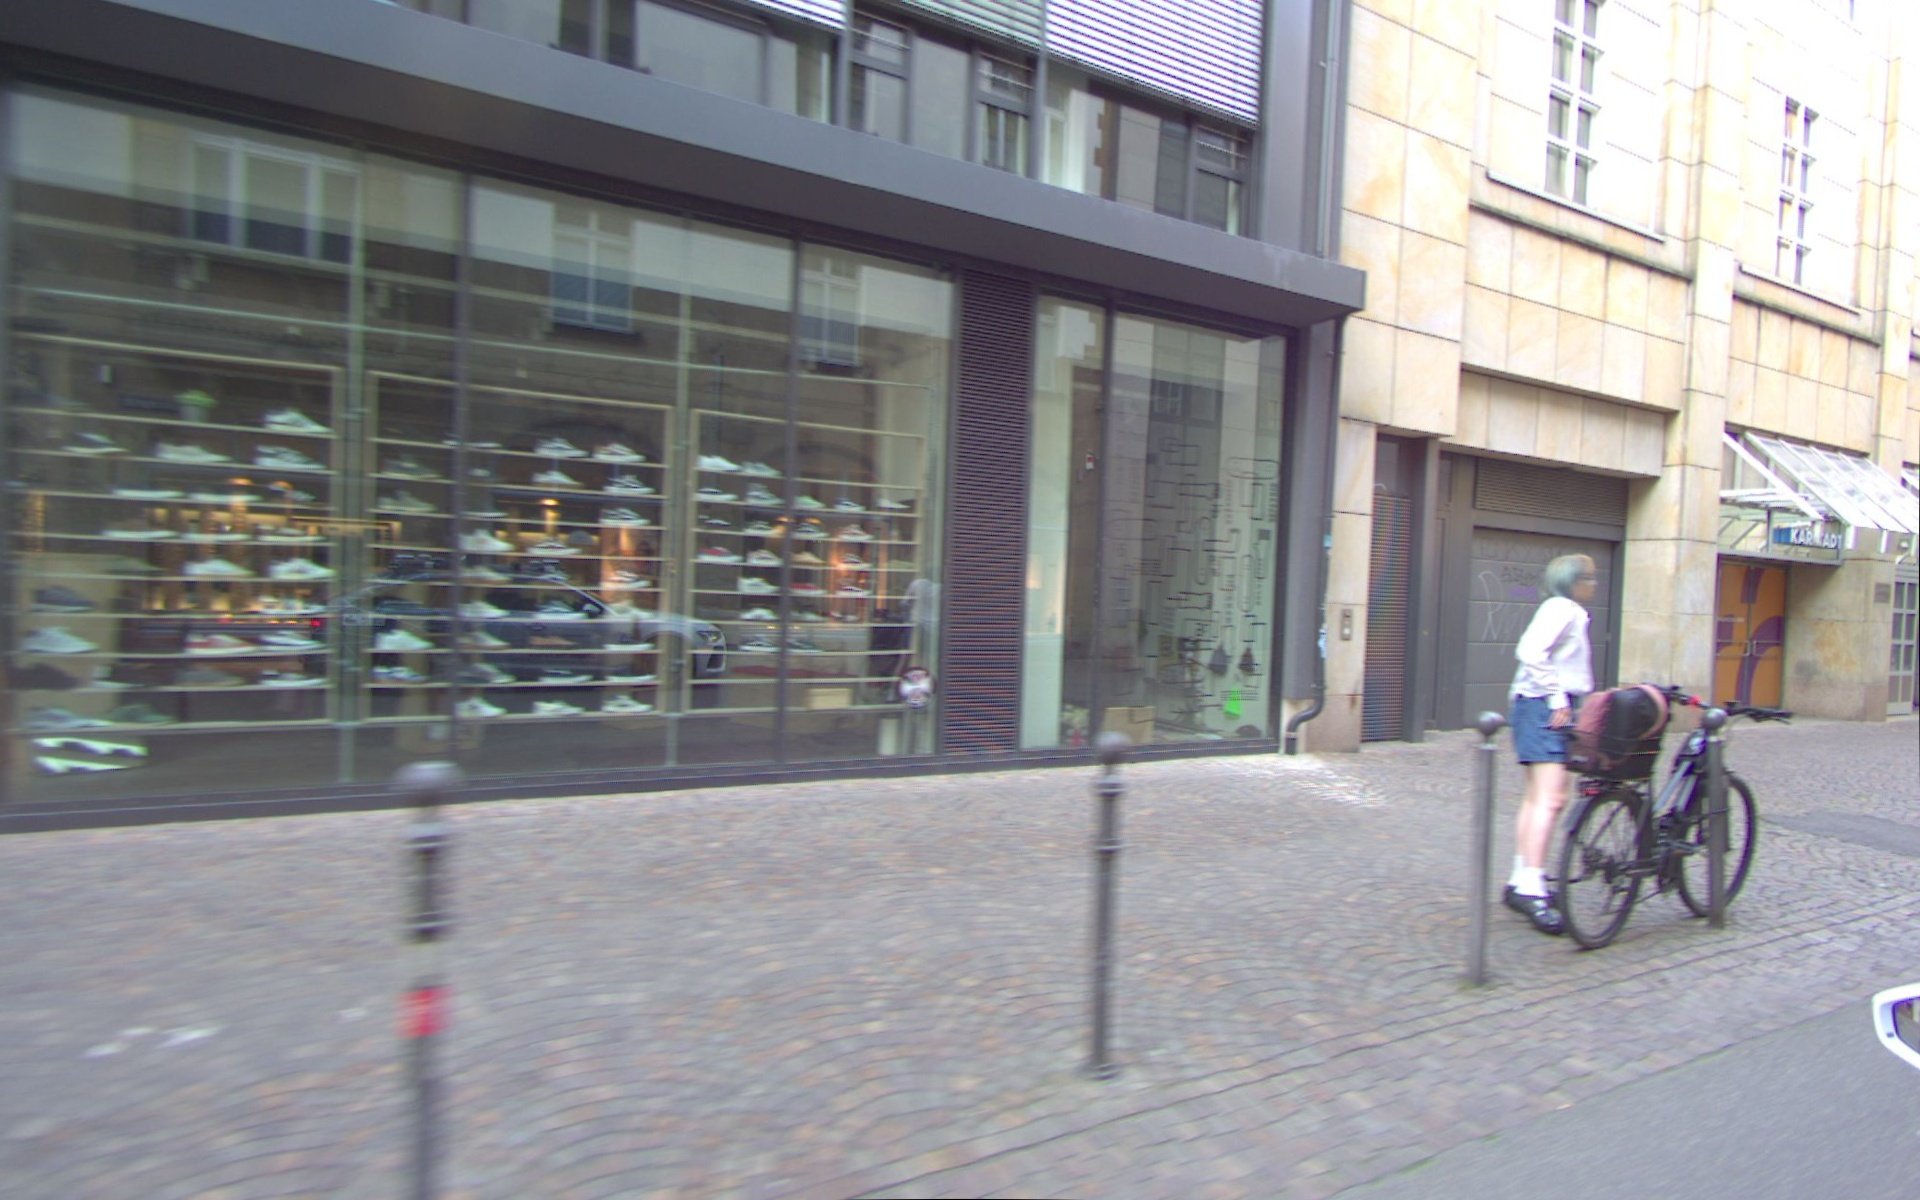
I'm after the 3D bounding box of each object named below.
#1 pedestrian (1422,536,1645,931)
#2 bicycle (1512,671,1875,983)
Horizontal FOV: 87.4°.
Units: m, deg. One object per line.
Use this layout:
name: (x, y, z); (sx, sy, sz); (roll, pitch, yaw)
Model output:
pedestrian: (2.794, 0.583, 4.905); (0.758, 1.741, 0.589); (5, 3, 40)
bicycle: (3.442, 0.953, 4.667); (1.891, 1.169, 0.530); (1, 3, -28)
